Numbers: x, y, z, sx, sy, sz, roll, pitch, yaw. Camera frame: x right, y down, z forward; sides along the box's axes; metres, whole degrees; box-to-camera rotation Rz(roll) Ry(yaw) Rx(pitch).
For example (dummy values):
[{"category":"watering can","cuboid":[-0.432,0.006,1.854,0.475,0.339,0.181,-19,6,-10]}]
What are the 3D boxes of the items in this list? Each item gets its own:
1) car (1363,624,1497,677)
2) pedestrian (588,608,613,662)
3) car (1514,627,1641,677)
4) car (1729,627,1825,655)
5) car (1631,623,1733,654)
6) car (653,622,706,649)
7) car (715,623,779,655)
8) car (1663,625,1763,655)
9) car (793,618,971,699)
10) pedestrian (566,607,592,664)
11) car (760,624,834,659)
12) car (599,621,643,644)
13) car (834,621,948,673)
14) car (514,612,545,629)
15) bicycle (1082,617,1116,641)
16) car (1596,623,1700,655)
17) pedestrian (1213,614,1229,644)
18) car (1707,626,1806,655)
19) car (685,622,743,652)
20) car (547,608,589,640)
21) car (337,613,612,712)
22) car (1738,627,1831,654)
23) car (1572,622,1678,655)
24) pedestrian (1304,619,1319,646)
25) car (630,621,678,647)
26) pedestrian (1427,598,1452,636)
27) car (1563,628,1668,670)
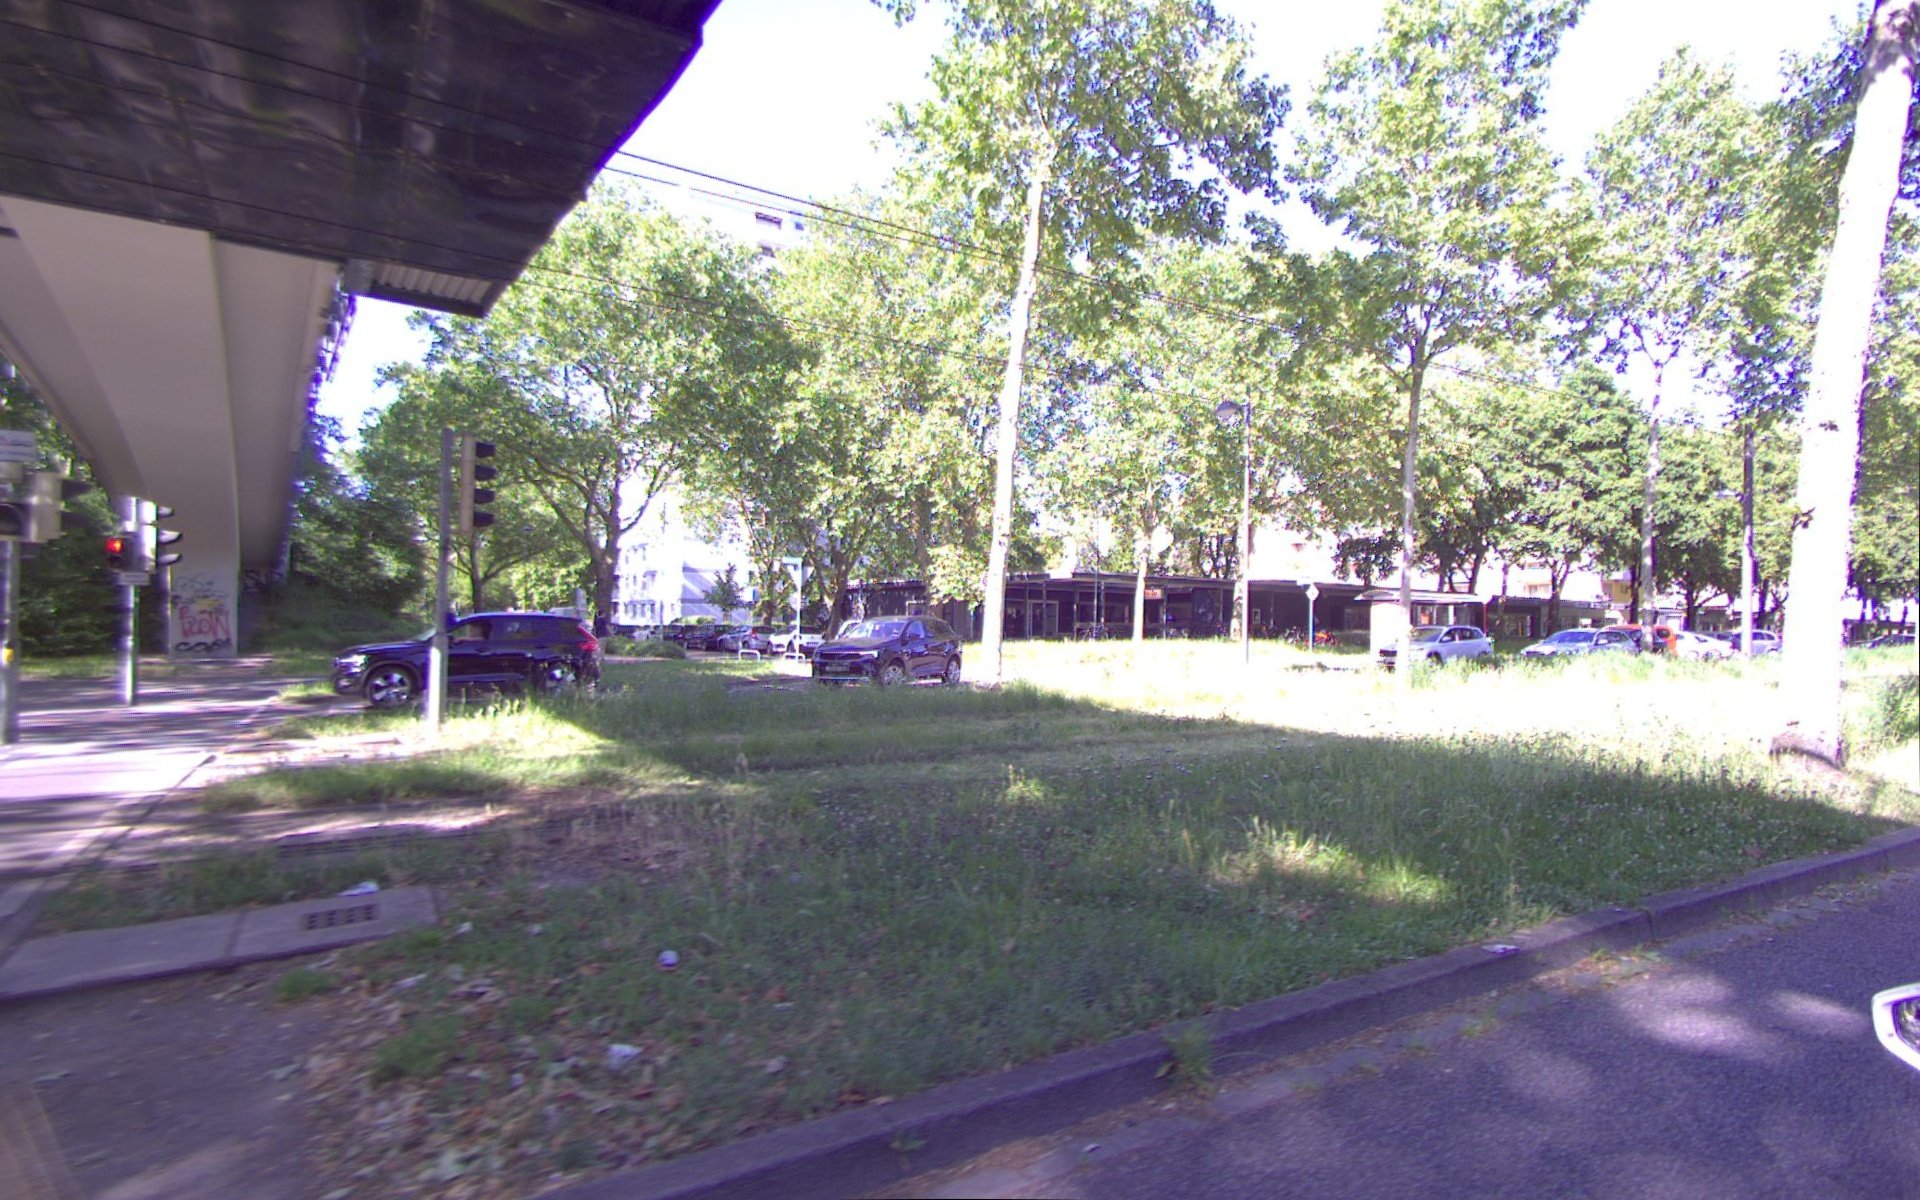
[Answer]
[{"category":"car","cuboid":[14.921,1.571,31.861,4.237,1.601,1.786,1,-1,-30]},{"category":"pedestrian","cuboid":[-11.523,1.115,32.219,0.638,1.728,0.649,1,-1,-9]},{"category":"car","cuboid":[20.622,1.704,33.507,4.624,1.530,1.784,1,-1,-33]},{"category":"car","cuboid":[47.139,2.327,58.048,3.919,1.530,1.801,0,-1,14]},{"category":"car","cuboid":[37.622,1.972,52.448,3.919,1.530,1.801,0,-1,14]},{"category":"car","cuboid":[-16.537,2.066,59.079,1.782,1.530,3.960,1,-2,-35]},{"category":"car","cuboid":[-10.848,1.960,50.995,1.782,1.530,3.960,1,-2,-35]},{"category":"car","cuboid":[40.470,2.156,54.093,3.920,1.530,1.801,0,-1,17]},{"category":"car","cuboid":[-1.585,1.211,22.026,1.768,1.587,4.279,0,-1,31]},{"category":"pedestrian","cuboid":[-12.239,1.134,32.267,0.638,1.806,0.649,1,-1,-9]},{"category":"car","cuboid":[-7.540,1.869,46.236,1.782,1.530,3.960,1,-2,-35]},{"category":"car","cuboid":[-23.102,2.203,68.309,1.782,1.530,3.960,1,-2,-35]},{"category":"car","cuboid":[-2.269,1.456,32.170,1.783,1.530,4.046,1,-2,-36]},{"category":"car","cuboid":[-39.688,1.923,92.511,1.847,1.530,3.960,1,-2,-35]},{"category":"bicycle","cuboid":[6.604,1.382,47.665,1.785,1.122,0.550,2,-1,-39]},{"category":"car","cuboid":[34.630,1.942,50.650,3.919,1.530,1.801,0,-1,14]},{"category":"pedestrian","cuboid":[14.872,1.659,57.245,0.644,1.683,0.644,1,-1,-35]},{"category":"car","cuboid":[44.284,2.243,55.962,3.919,1.530,1.801,0,-1,14]},{"category":"car","cuboid":[-13.470,1.999,54.842,1.782,1.530,3.960,1,-2,-35]},{"category":"car","cuboid":[-31.533,1.925,80.738,2.042,2.468,4.959,1,-2,-35]},{"category":"car","cuboid":[-8.679,1.062,18.091,4.243,1.587,1.783,1,-1,-34]},{"category":"car","cuboid":[49.424,2.424,60.302,3.919,1.530,1.801,0,-1,14]},{"category":"car","cuboid":[32.231,1.859,48.798,3.919,1.530,1.801,0,-1,14]},{"category":"pedestrian","cuboid":[22.066,2.014,63.095,0.644,1.683,0.644,1,-1,-35]},{"category":"car","cuboid":[-19.396,2.134,63.536,1.782,1.530,3.960,1,-2,-35]},{"category":"pedestrian","cuboid":[19.258,0.689,40.342,0.642,1.479,0.645,1,-1,-28]},{"category":"car","cuboid":[25.403,1.866,38.896,3.951,1.530,1.787,1,-1,-29]}]
